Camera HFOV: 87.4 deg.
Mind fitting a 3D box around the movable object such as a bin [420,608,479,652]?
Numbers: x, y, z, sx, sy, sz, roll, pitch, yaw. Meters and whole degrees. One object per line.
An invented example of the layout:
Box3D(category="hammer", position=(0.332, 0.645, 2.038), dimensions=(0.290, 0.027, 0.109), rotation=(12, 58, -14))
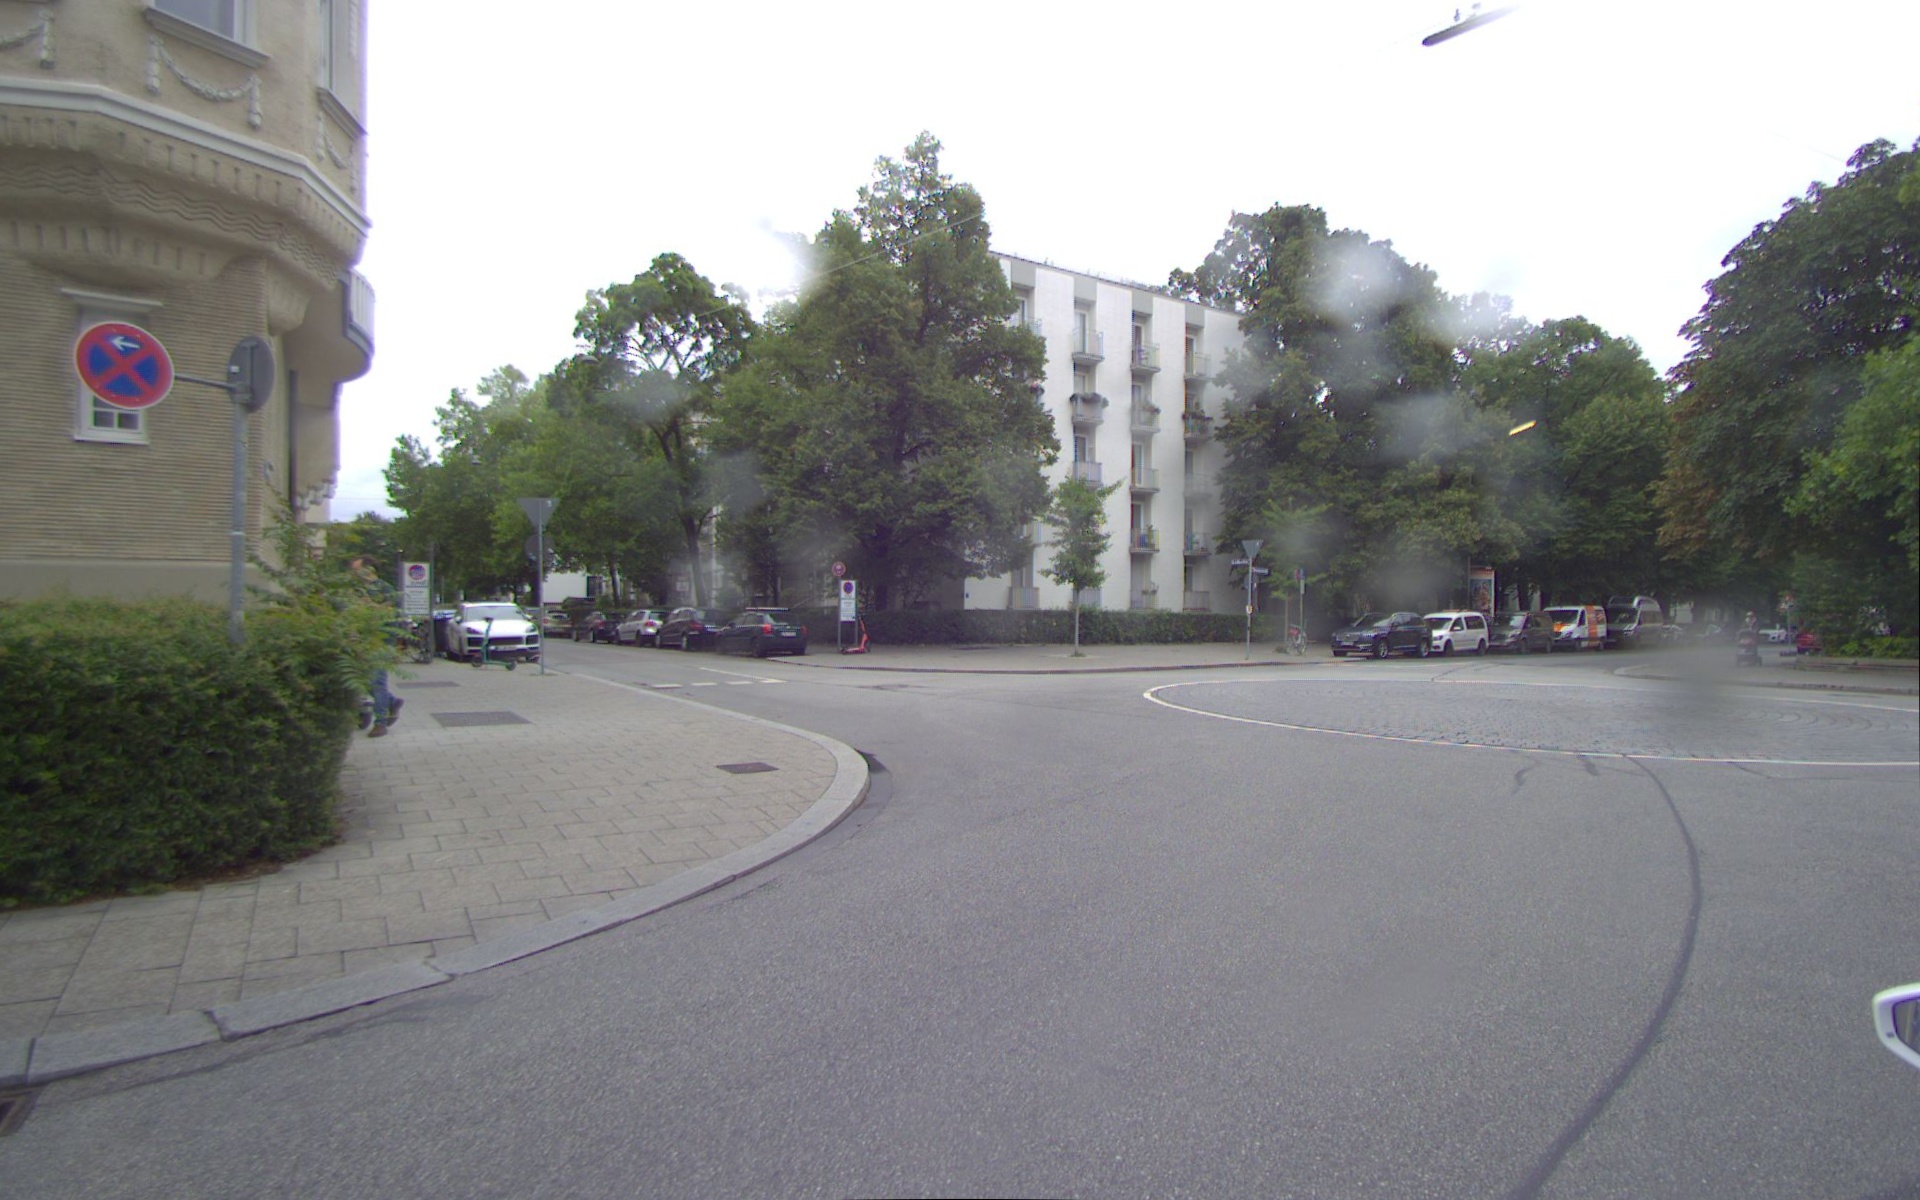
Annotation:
Box3D(category="movable object such as a bin", position=(-16.211, 0.936, 31.892), dimensions=(1.545, 1.367, 1.524), rotation=(1, 0, -32))

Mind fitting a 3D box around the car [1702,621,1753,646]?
Box3D(category="car", position=(52.658, 2.290, 68.880), dimensions=(4.038, 1.592, 1.881), rotation=(1, -1, -38))

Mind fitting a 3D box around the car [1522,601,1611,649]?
Box3D(category="car", position=(30.671, 1.256, 50.735), dimensions=(5.148, 2.281, 2.095), rotation=(1, -1, -38))

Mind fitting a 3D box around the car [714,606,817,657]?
Box3D(category="car", position=(-6.420, 0.982, 32.885), dimensions=(1.760, 1.538, 3.992), rotation=(1, -1, -37))

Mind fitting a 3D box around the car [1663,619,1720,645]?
Box3D(category="car", position=(46.172, 2.014, 63.379), dimensions=(4.038, 1.558, 1.881), rotation=(1, -1, -38))

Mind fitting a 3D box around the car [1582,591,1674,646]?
Box3D(category="car", position=(37.691, 1.043, 56.616), dimensions=(6.519, 2.961, 2.317), rotation=(1, 0, -38))

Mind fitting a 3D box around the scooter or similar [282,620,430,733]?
Box3D(category="scooter or similar", position=(-6.578, 0.812, 10.955), dimensions=(1.328, 1.181, 0.529), rotation=(0, 0, 7))

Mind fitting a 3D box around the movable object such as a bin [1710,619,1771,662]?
Box3D(category="movable object such as a bin", position=(23.853, 1.232, 30.697), dimensions=(1.072, 1.284, 1.075), rotation=(0, -3, -24))

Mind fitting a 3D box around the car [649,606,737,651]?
Box3D(category="car", position=(-9.818, 1.002, 36.775), dimensions=(1.760, 1.538, 3.992), rotation=(1, -1, -37))

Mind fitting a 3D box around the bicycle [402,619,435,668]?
Box3D(category="bicycle", position=(-13.633, 1.066, 25.269), dimensions=(0.545, 1.165, 1.827), rotation=(1, 0, -35))

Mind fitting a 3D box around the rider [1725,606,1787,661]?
Box3D(category="rider", position=(24.610, 1.042, 31.063), dimensions=(1.124, 1.689, 1.079), rotation=(0, -3, -24))

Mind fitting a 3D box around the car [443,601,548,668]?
Box3D(category="car", position=(-13.231, 0.908, 28.436), dimensions=(1.979, 1.714, 4.765), rotation=(1, -1, -34))

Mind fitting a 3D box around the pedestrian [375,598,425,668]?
Box3D(category="pedestrian", position=(-15.058, 0.858, 27.003), dimensions=(1.120, 1.829, 1.260), rotation=(0, 0, -33))

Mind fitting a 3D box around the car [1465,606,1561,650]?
Box3D(category="car", position=(25.272, 1.266, 45.852), dimensions=(4.941, 1.883, 2.049), rotation=(1, -1, -38))

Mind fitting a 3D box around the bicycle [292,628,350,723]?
Box3D(category="bicycle", position=(-7.841, 0.887, 12.332), dimensions=(0.554, 1.036, 1.866), rotation=(1, 0, -33))

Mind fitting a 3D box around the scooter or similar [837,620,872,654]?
Box3D(category="scooter or similar", position=(-3.327, 1.153, 31.703), dimensions=(0.374, 1.039, 1.135), rotation=(0, 0, 44))

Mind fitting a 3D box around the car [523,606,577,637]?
Box3D(category="car", position=(-22.131, 1.134, 54.122), dimensions=(1.760, 1.538, 3.992), rotation=(1, -1, -37))

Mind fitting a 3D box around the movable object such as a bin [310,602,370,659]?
Box3D(category="movable object such as a bin", position=(-16.579, 0.802, 26.878), dimensions=(1.331, 1.477, 1.152), rotation=(0, 0, -33))

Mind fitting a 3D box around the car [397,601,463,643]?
Box3D(category="car", position=(-21.777, 0.876, 41.221), dimensions=(1.979, 1.617, 4.172), rotation=(1, -1, -34))

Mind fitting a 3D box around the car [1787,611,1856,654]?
Box3D(category="car", position=(40.988, 1.502, 47.752), dimensions=(4.415, 1.948, 2.022), rotation=(1, -1, -43))

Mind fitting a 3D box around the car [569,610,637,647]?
Box3D(category="car", position=(-15.972, 1.224, 44.882), dimensions=(1.760, 1.538, 3.992), rotation=(1, -1, -37))

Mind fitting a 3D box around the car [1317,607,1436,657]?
Box3D(category="car", position=(15.944, 1.187, 38.339), dimensions=(4.862, 1.790, 2.049), rotation=(1, -1, -38))

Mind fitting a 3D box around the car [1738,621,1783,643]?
Box3D(category="car", position=(60.844, 2.455, 76.329), dimensions=(4.038, 1.592, 1.881), rotation=(1, -1, -38))

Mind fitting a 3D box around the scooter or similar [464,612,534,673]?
Box3D(category="scooter or similar", position=(-10.987, 0.994, 23.962), dimensions=(1.328, 1.413, 0.709), rotation=(0, 0, 7))

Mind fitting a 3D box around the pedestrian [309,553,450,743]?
Box3D(category="pedestrian", position=(-5.998, 0.475, 10.394), dimensions=(0.878, 1.834, 1.050), rotation=(0, 0, 43))

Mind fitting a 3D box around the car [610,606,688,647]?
Box3D(category="car", position=(-12.608, 1.052, 40.533), dimensions=(1.760, 1.538, 3.992), rotation=(1, -1, -37))

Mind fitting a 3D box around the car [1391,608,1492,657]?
Box3D(category="car", position=(20.084, 1.324, 41.803), dimensions=(4.825, 1.920, 1.911), rotation=(1, -1, -39))

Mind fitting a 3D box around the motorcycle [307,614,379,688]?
Box3D(category="motorcycle", position=(-11.035, 0.865, 17.920), dimensions=(0.996, 1.195, 2.539), rotation=(1, -1, -34))

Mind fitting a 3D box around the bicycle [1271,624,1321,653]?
Box3D(category="bicycle", position=(13.115, 1.504, 39.185), dimensions=(1.953, 1.065, 0.904), rotation=(1, -1, -37))
